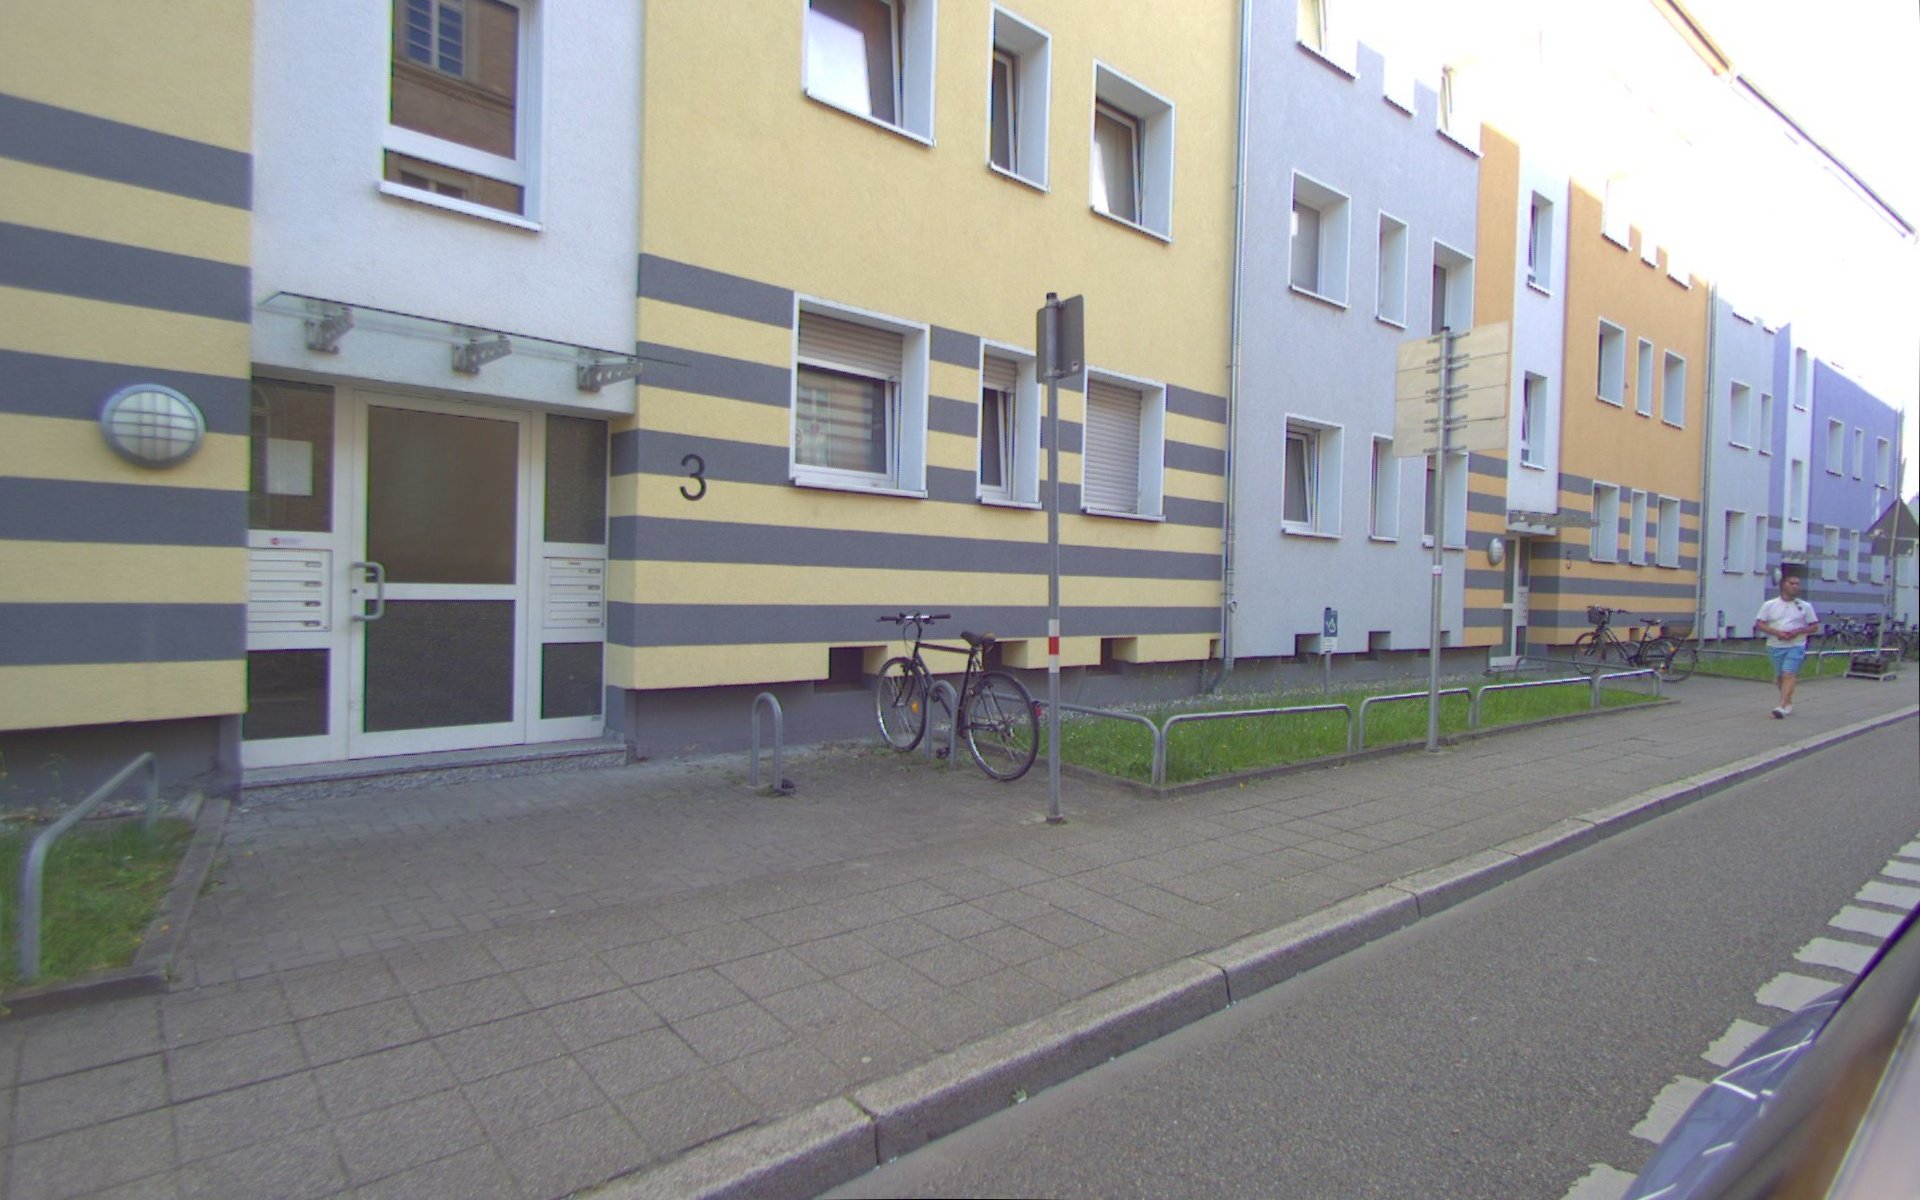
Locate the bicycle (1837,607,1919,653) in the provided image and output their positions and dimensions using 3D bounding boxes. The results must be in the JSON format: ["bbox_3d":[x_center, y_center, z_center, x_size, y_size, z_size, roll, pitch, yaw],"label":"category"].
[{"bbox_3d":[23.337,0.742,25.477,0.572,1.007,1.779,1,3,-33],"label":"bicycle"}]

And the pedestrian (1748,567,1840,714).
[{"bbox_3d":[10.090,0.460,12.246,0.819,1.692,0.644,1,2,-39],"label":"pedestrian"}]

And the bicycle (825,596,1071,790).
[{"bbox_3d":[-0.136,0.557,6.925,1.773,1.061,0.574,5,4,45],"label":"bicycle"}]

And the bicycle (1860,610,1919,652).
[{"bbox_3d":[24.039,0.798,25.585,0.572,0.950,1.779,1,3,-33],"label":"bicycle"}]

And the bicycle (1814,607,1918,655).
[{"bbox_3d":[22.174,0.738,24.807,0.572,1.007,1.779,1,3,-33],"label":"bicycle"}]

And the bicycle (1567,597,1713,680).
[{"bbox_3d":[10.676,0.572,15.948,0.574,1.138,1.775,0,4,-42],"label":"bicycle"}]
